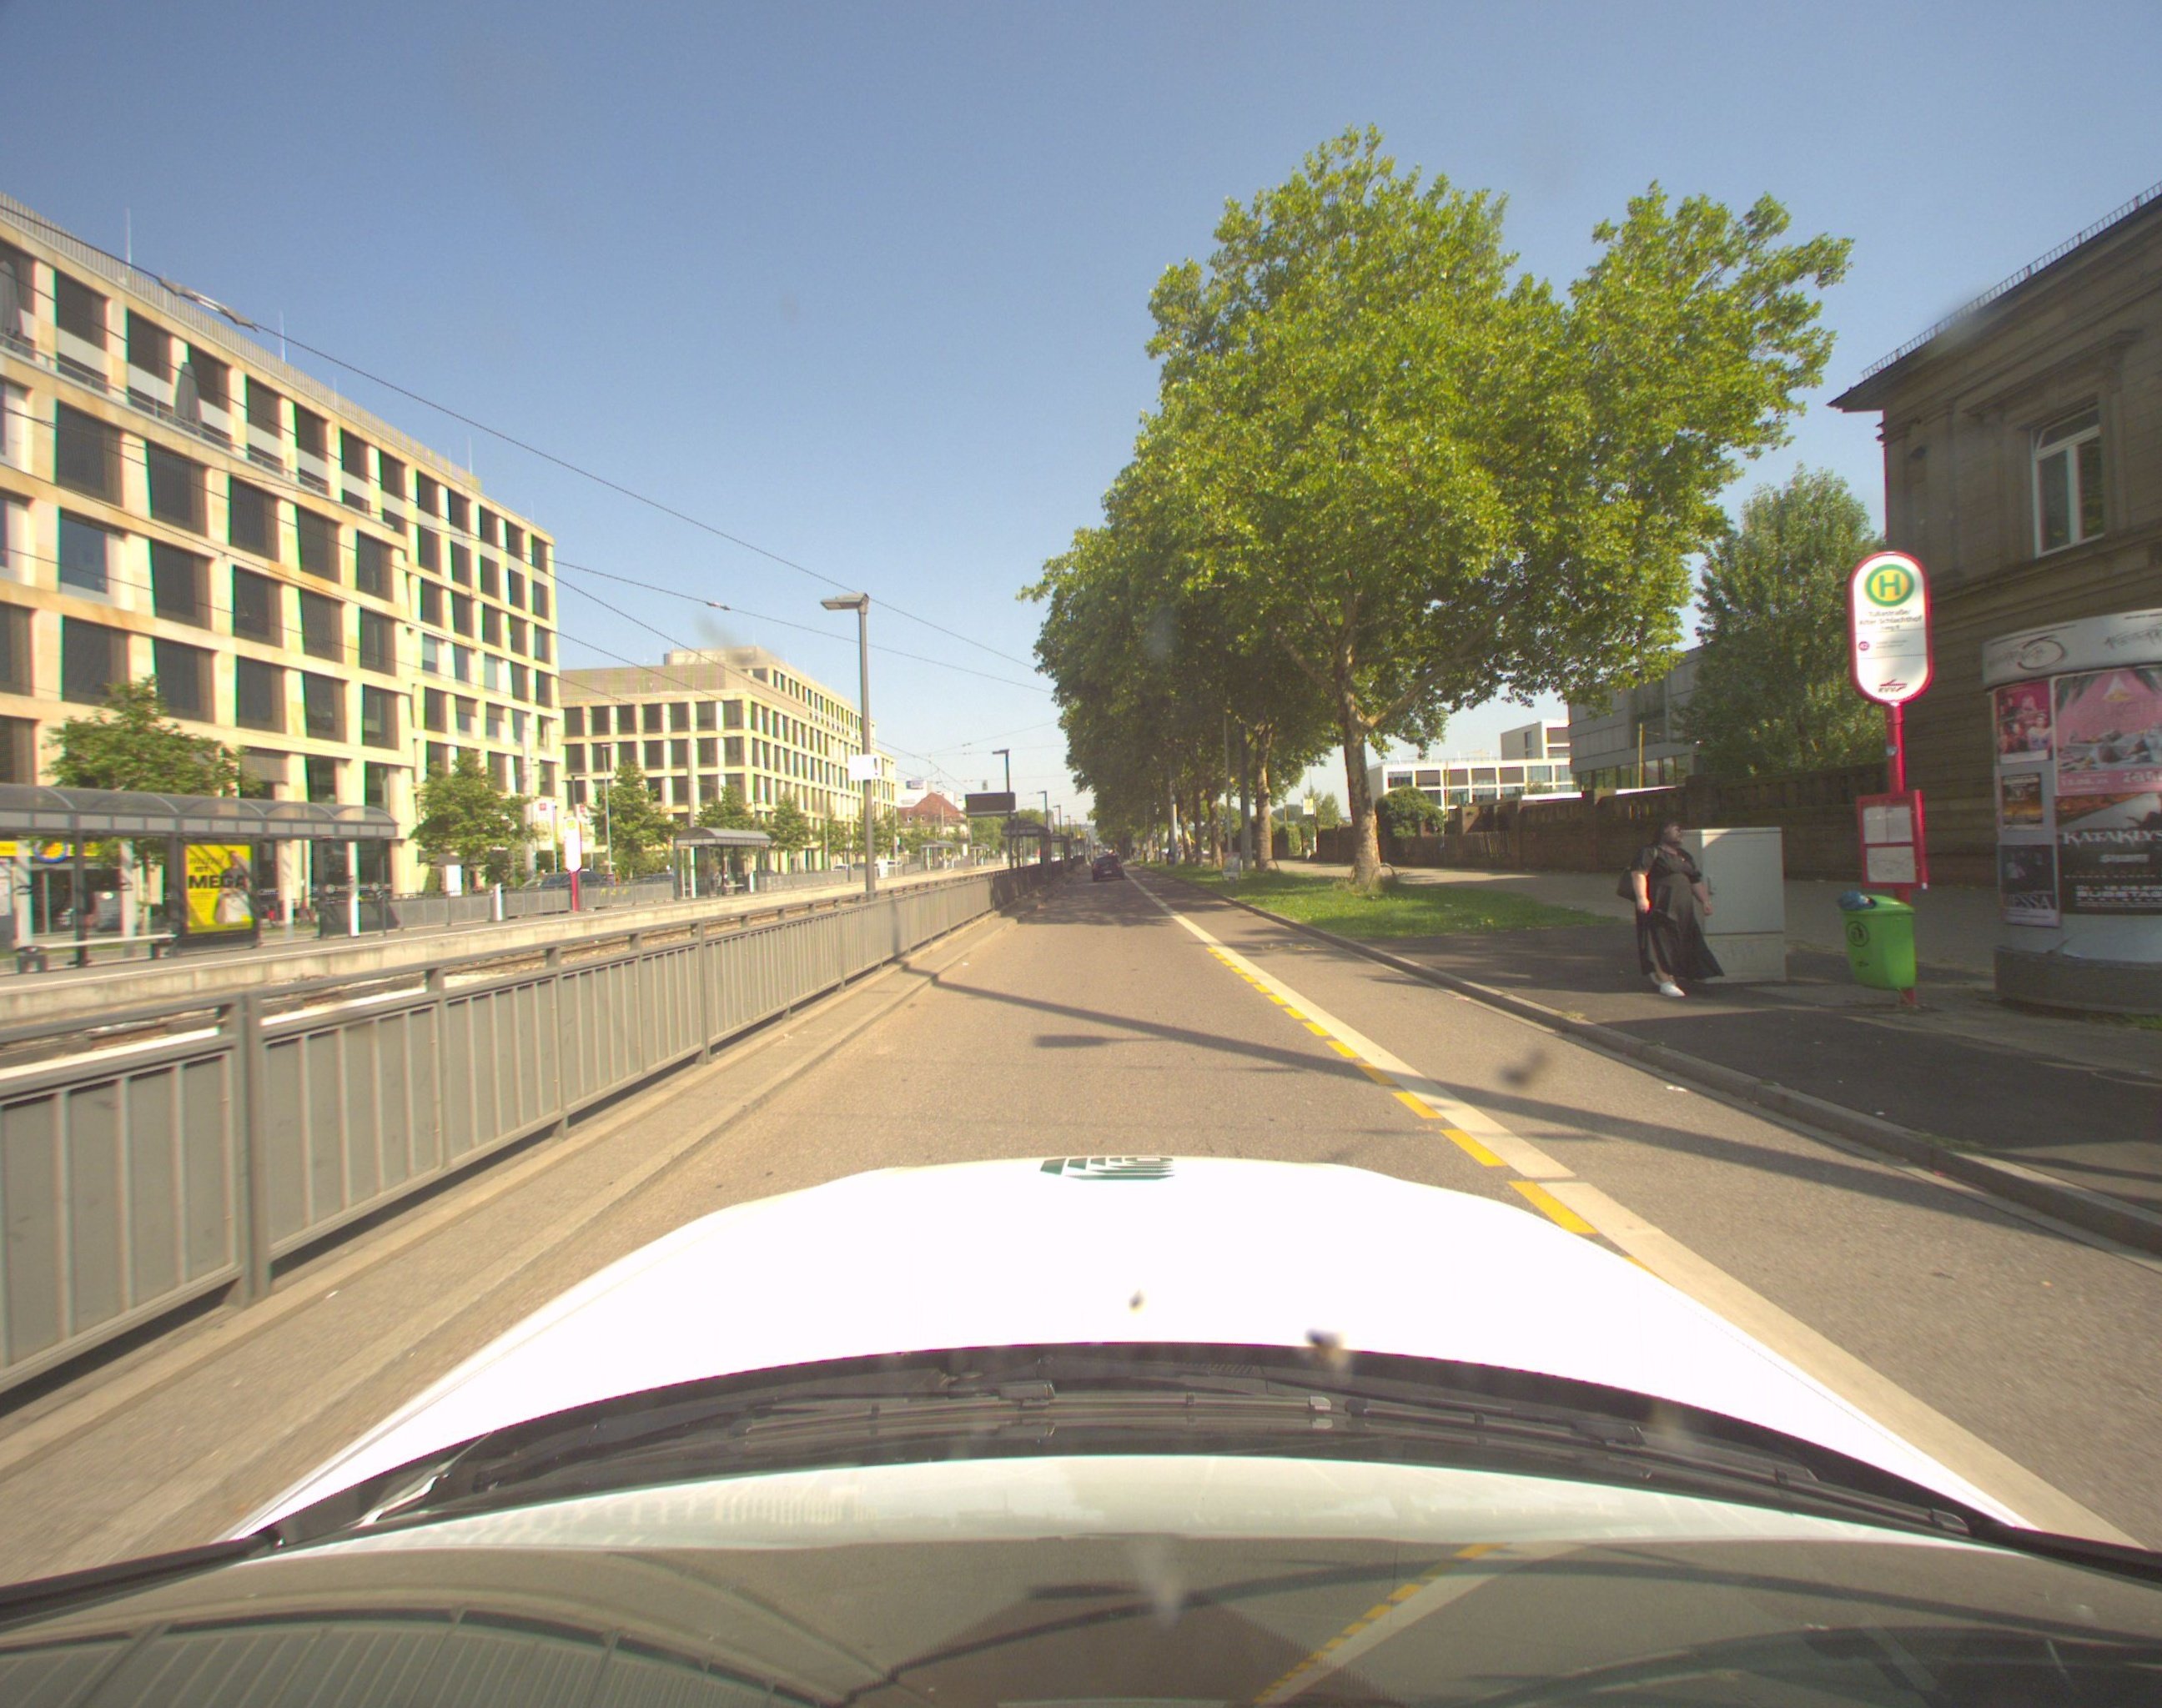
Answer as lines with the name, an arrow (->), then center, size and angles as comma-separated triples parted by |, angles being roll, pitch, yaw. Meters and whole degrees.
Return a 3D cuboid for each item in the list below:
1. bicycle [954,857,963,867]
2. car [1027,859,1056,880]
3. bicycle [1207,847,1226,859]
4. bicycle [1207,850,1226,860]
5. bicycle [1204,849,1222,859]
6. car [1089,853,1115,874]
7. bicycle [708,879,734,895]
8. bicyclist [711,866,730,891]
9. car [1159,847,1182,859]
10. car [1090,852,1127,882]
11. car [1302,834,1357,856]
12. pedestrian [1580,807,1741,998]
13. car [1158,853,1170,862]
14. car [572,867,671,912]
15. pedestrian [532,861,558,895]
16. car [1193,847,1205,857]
bicycle -> -14.517, 0.898, 96.458 | 0.467, 1.147, 1.490 | -2, -1, 16
car -> -3.232, 1.251, 66.780 | 1.986, 1.559, 4.002 | -3, 0, 2
bicycle -> 17.473, -0.125, 104.889 | 2.236, 1.277, 0.999 | -5, -1, 1
bicycle -> 16.744, 0.092, 100.375 | 2.166, 1.076, 0.743 | -3, 0, 0
bicycle -> 16.742, 0.026, 103.405 | 2.163, 1.076, 0.744 | -5, -1, 5
car -> 1.720, 0.760, 66.742 | 1.967, 1.537, 4.001 | -6, 0, 1
bicycle -> -21.252, 1.931, 48.116 | 0.627, 0.822, 1.898 | -5, -1, 1
bicyclist -> -21.296, 1.438, 48.152 | 0.627, 1.402, 0.784 | -5, -2, 1
car -> 16.814, -0.183, 152.924 | 4.084, 1.918, 1.850 | -4, 0, 4
car -> 1.527, 0.712, 46.319 | 1.901, 1.537, 4.001 | -4, 0, 1
car -> 23.125, -0.817, 75.809 | 4.508, 1.733, 1.909 | -3, 0, -1
pedestrian -> 5.284, 0.423, 7.493 | 0.876, 1.625, 0.824 | -3, 0, 7
car -> 14.244, 0.595, 139.601 | 1.721, 1.448, 4.553 | -4, 0, 2
car -> -18.367, 1.382, 32.740 | 1.655, 1.571, 3.761 | -3, 0, 2
pedestrian -> -31.100, 1.387, 47.252 | 0.792, 1.917, 0.837 | -5, -2, -5
car -> 20.321, -0.302, 140.672 | 1.601, 1.575, 3.798 | -4, 0, 2
